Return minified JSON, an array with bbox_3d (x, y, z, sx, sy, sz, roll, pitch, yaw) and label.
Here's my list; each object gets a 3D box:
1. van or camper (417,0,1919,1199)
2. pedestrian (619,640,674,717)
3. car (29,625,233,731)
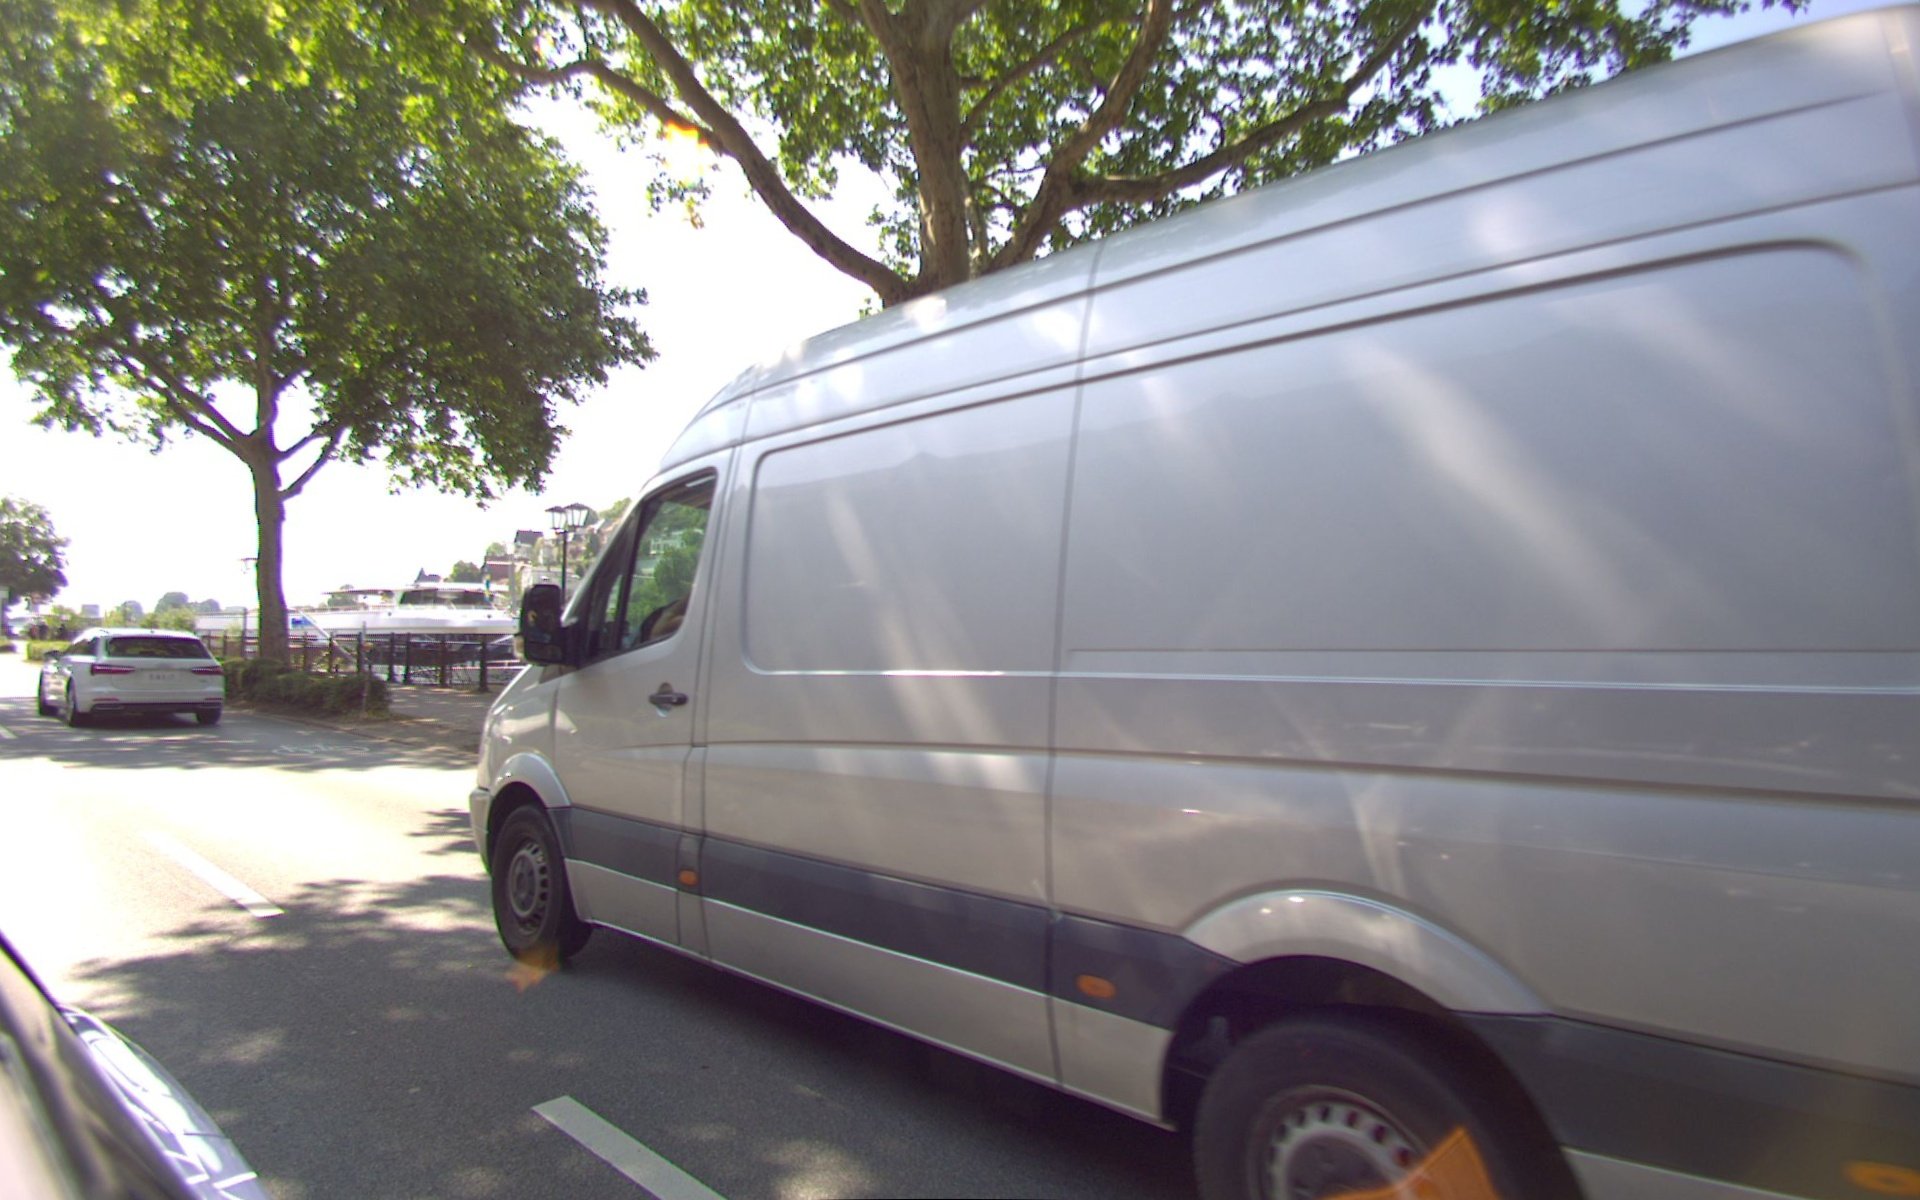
[{"bbox_3d":[0.219,0.241,3.738,5.839,2.587,1.940,-1,-5,42],"label":"van or camper"},{"bbox_3d":[-5.657,1.392,18.260,0.656,1.318,0.695,-1,-1,42],"label":"pedestrian"},{"bbox_3d":[-13.349,1.164,16.197,4.532,1.468,1.751,-1,-4,41],"label":"car"}]
